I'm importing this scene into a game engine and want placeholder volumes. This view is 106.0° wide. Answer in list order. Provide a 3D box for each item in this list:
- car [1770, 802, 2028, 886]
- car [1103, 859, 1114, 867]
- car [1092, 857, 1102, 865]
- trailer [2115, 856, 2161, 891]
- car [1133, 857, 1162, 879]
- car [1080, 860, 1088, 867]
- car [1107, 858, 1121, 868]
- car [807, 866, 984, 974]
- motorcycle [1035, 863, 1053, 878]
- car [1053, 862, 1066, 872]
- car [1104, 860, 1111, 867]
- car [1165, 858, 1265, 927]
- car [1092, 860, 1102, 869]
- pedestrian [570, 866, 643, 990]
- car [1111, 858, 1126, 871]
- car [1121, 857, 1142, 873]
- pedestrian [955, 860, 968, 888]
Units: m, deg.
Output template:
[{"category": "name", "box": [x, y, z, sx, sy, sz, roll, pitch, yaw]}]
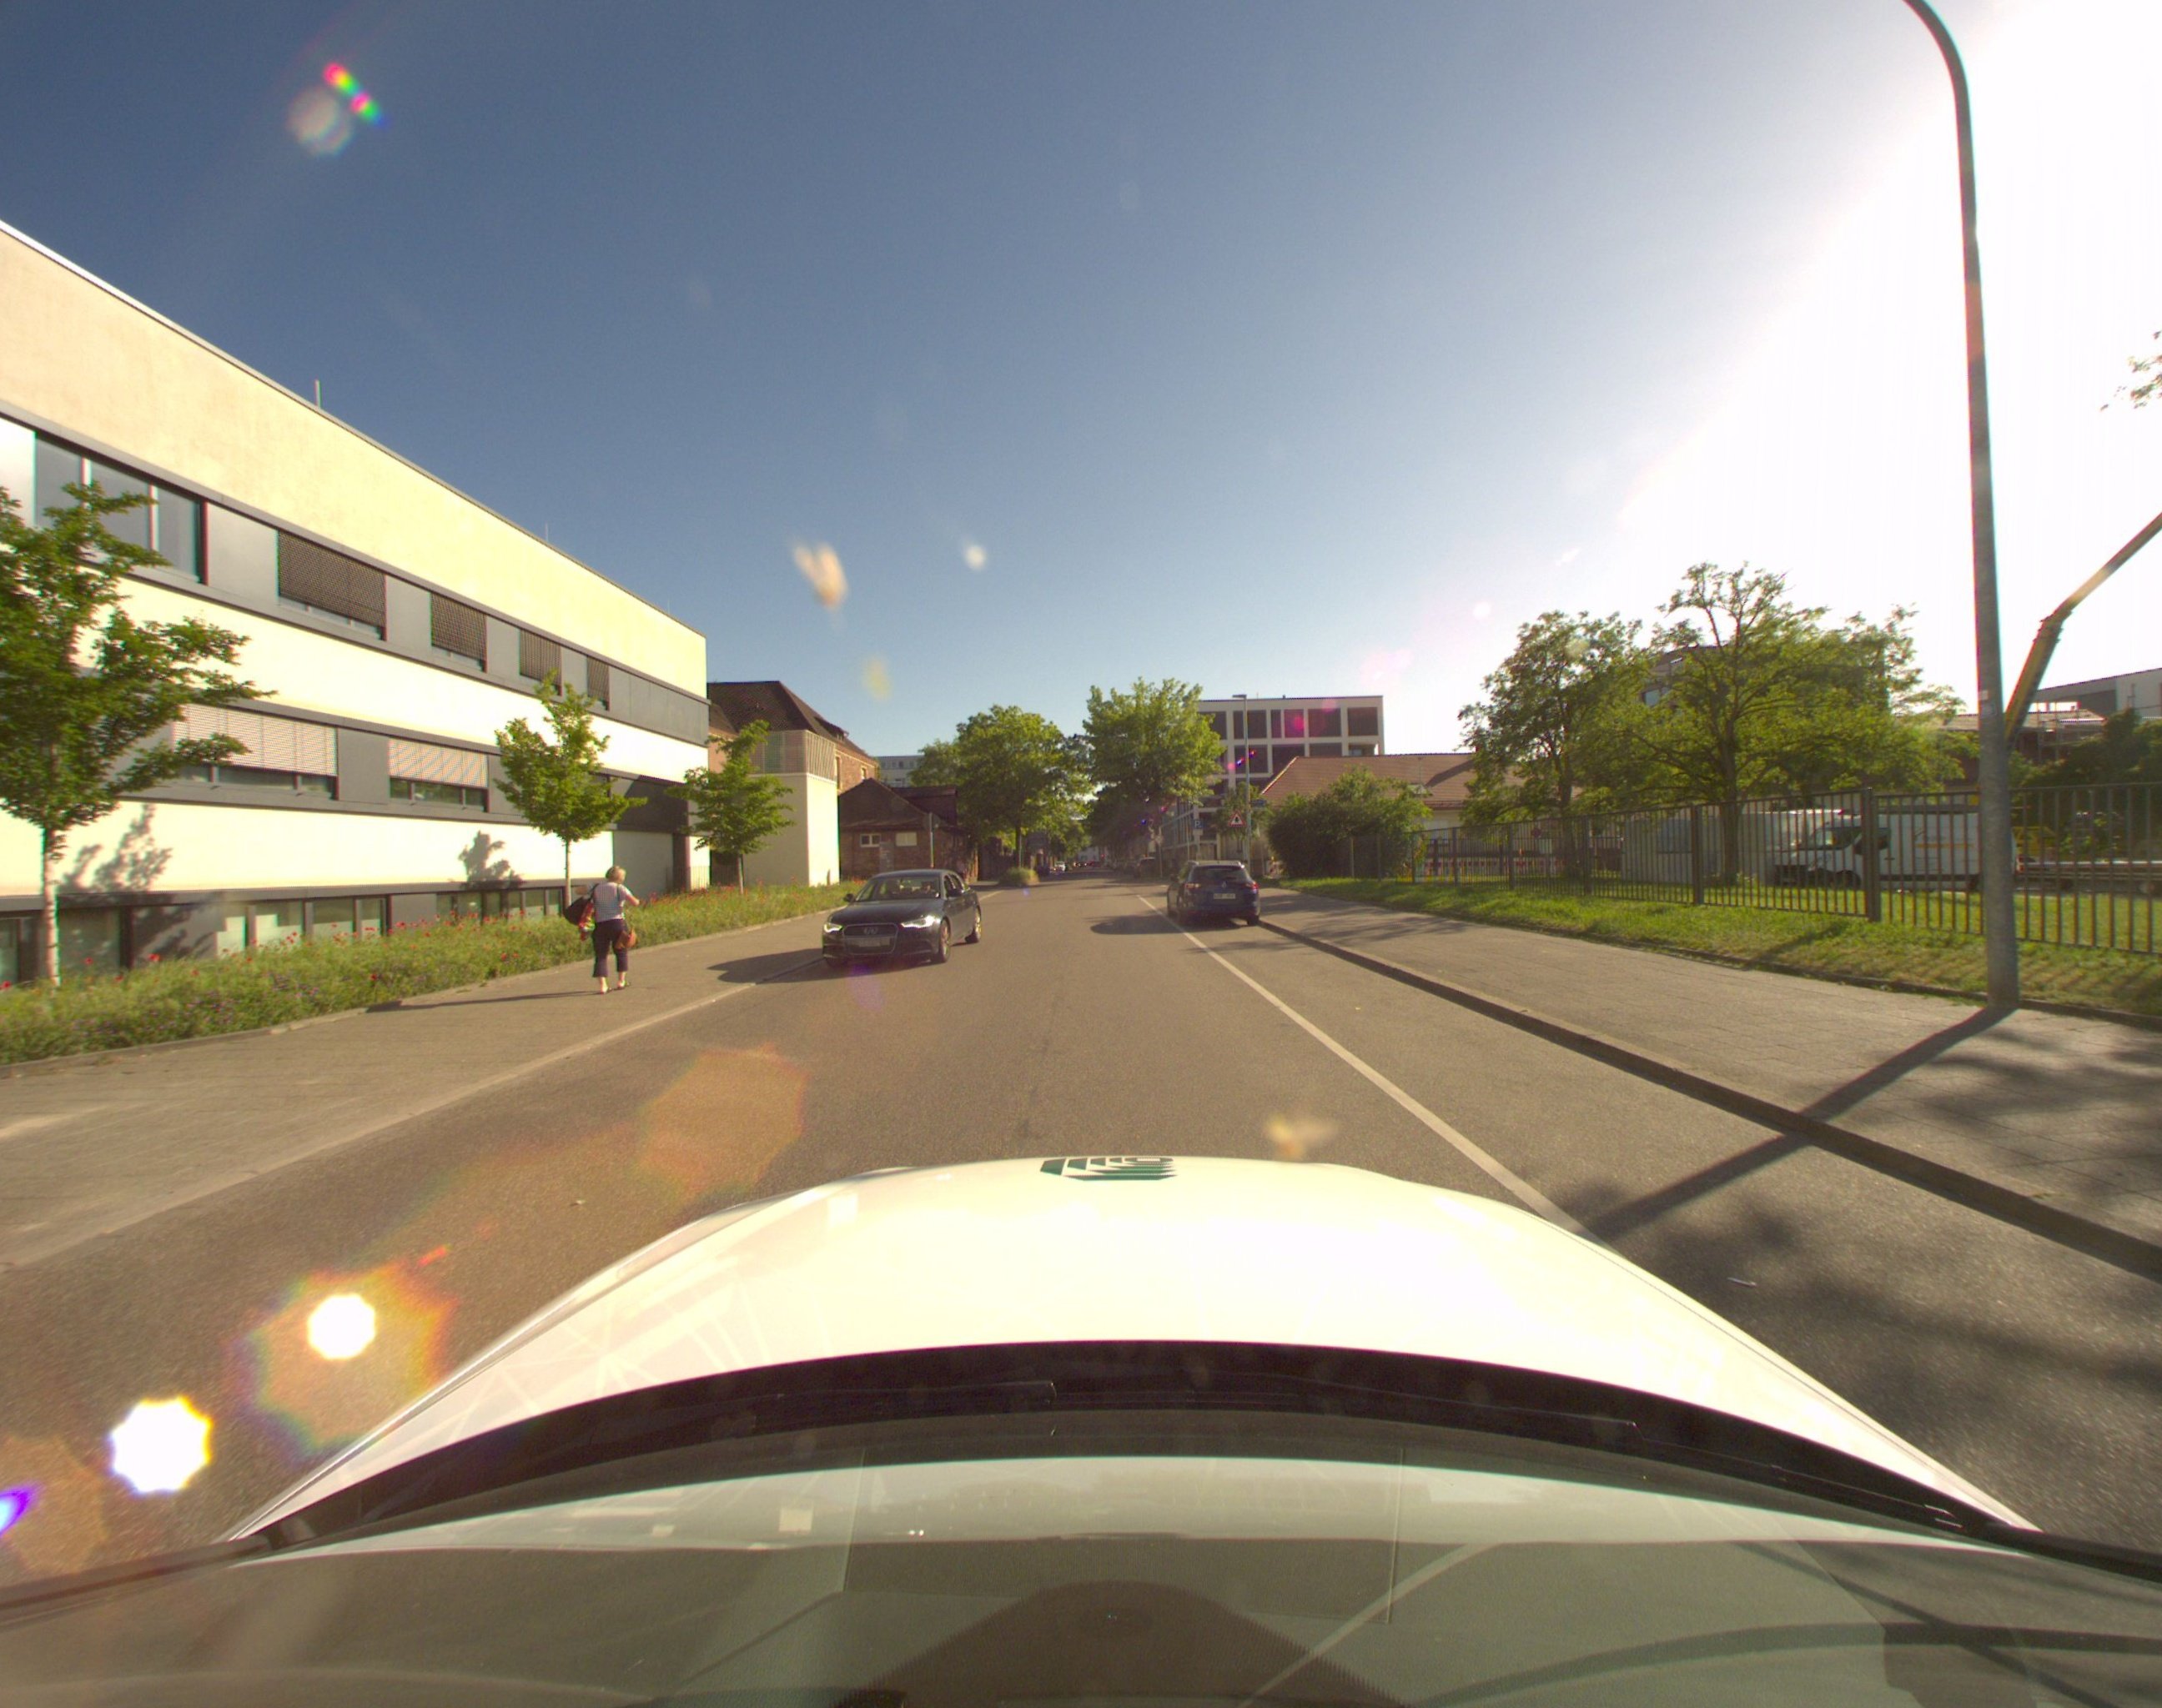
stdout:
[{"category": "car", "box": [23.795, -0.296, 23.881, 5.257, 2.202, 2.004, -2, 1, 6]}, {"category": "car", "box": [5.256, 1.748, 157.597, 1.986, 1.425, 3.837, -2, -1, 1]}, {"category": "car", "box": [3.064, 1.337, 157.448, 1.882, 1.400, 3.837, -2, 0, 1]}, {"category": "trailer", "box": [29.787, 0.512, 20.357, 1.886, 0.919, 5.122, -2, 0, 9]}, {"category": "car", "box": [4.788, 0.985, 59.108, 1.697, 1.468, 4.788, -1, -1, 0]}, {"category": "car", "box": [0.746, 2.277, 187.691, 1.648, 1.530, 4.000, -2, -1, 1]}, {"category": "car", "box": [5.085, 1.351, 125.006, 1.986, 1.465, 3.837, -2, -1, 1]}, {"category": "car", "box": [-2.962, 0.993, 14.074, 1.754, 1.442, 4.541, -2, 0, 3]}, {"category": "motorcycle", "box": [-3.511, 1.550, 77.269, 0.570, 1.276, 2.135, -2, -1, 34]}, {"category": "car", "box": [-3.224, 1.900, 121.183, 1.762, 1.487, 3.998, -2, -1, -1]}, {"category": "car", "box": [6.165, 2.223, 190.413, 1.580, 1.400, 3.837, -2, -1, 1]}, {"category": "car", "box": [3.067, 0.828, 19.429, 1.811, 1.453, 4.215, 0, 0, 2]}, {"category": "car", "box": [2.985, 2.006, 155.628, 1.762, 1.548, 4.064, -2, -1, -1]}, {"category": "pedestrian", "box": [-6.096, 0.930, 10.477, 0.536, 1.524, 0.607, -2, -1, 1]}, {"category": "car", "box": [5.030, 1.425, 109.320, 1.943, 1.578, 3.837, -2, -1, 1]}, {"category": "car", "box": [4.956, 1.071, 80.397, 1.762, 1.440, 3.998, -2, -1, -1]}, {"category": "pedestrian", "box": [-6.839, 1.112, 46.568, 0.519, 1.562, 1.096, -2, 0, 0]}]
